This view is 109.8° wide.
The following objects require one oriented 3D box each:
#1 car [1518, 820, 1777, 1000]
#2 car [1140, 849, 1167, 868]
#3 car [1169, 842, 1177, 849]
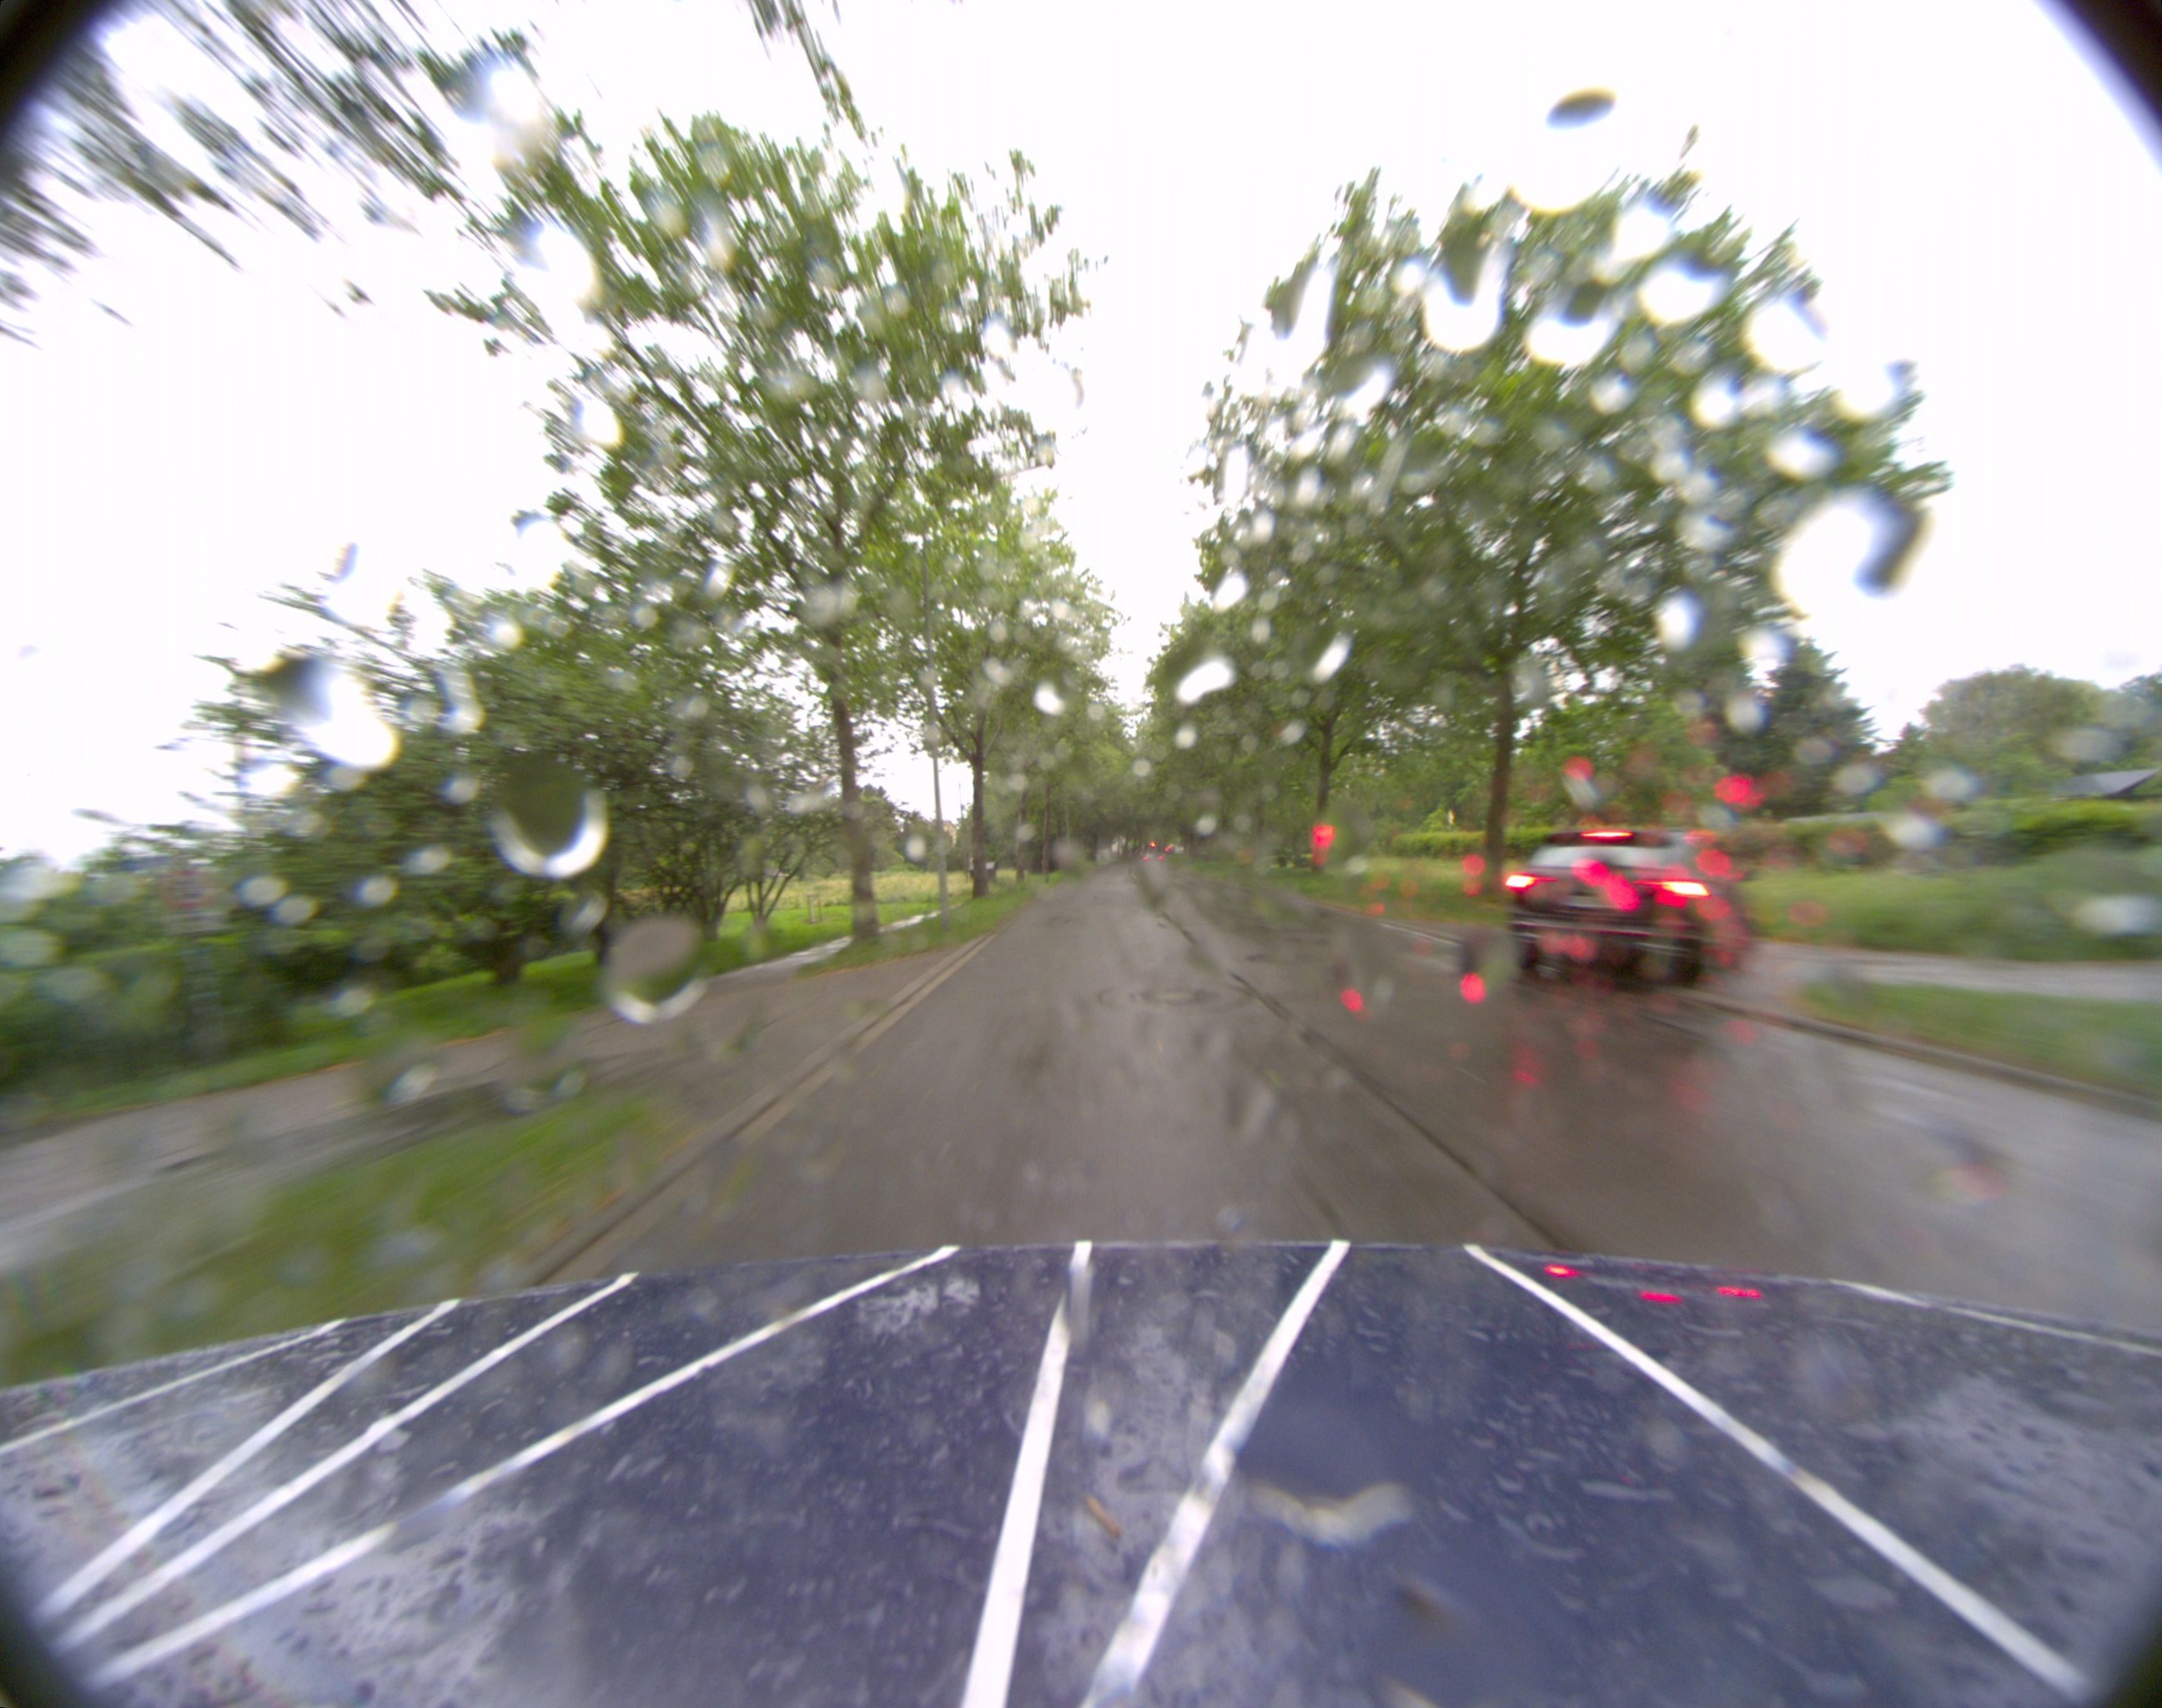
[{"bbox_3d":[6.709,0.598,8.802,4.321,1.578,1.732,3,-3,-44],"label":"car"},{"bbox_3d":[5.735,0.303,60.301,1.735,1.415,4.225,-1,1,1],"label":"car"},{"bbox_3d":[25.236,-2.362,207.929,1.866,1.740,5.017,-1,1,5],"label":"car"}]
